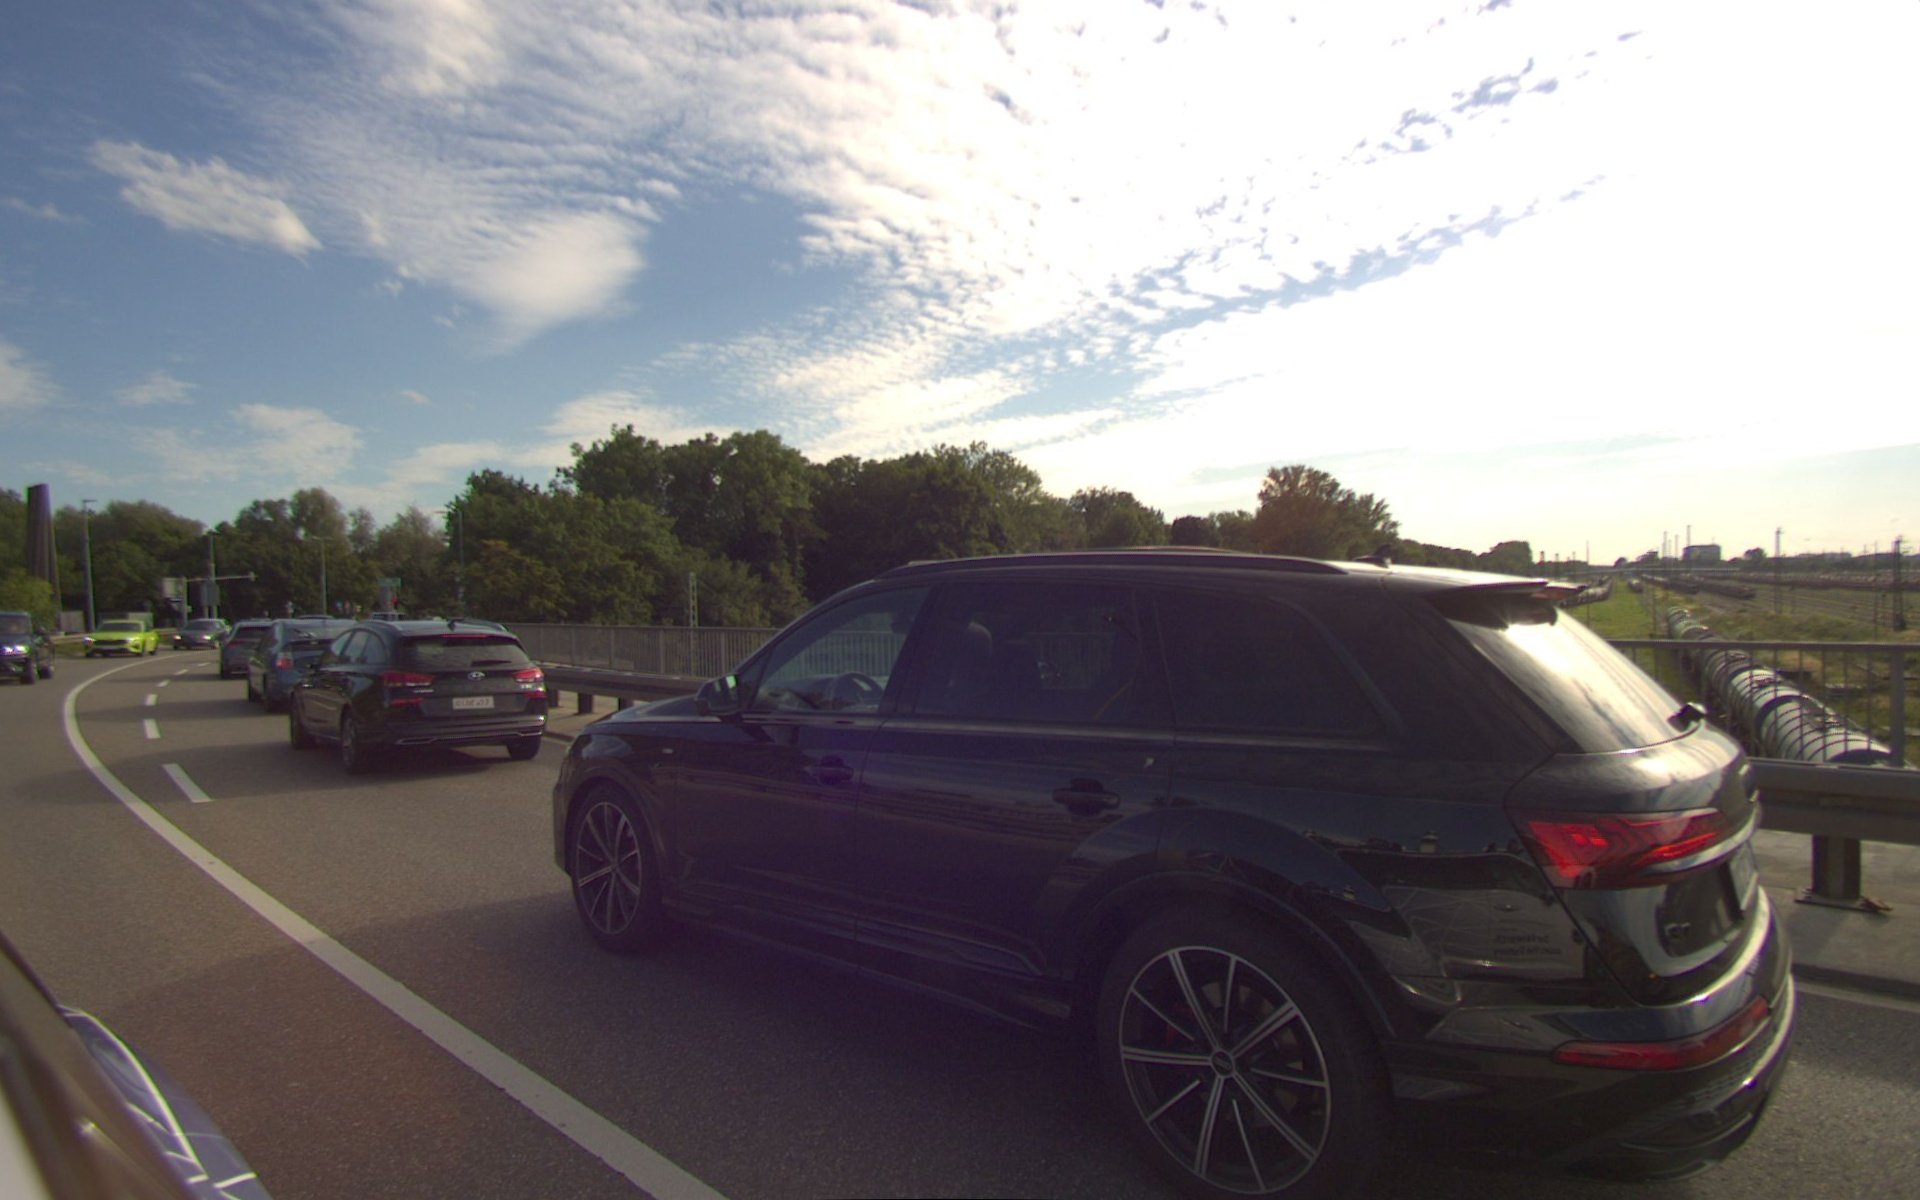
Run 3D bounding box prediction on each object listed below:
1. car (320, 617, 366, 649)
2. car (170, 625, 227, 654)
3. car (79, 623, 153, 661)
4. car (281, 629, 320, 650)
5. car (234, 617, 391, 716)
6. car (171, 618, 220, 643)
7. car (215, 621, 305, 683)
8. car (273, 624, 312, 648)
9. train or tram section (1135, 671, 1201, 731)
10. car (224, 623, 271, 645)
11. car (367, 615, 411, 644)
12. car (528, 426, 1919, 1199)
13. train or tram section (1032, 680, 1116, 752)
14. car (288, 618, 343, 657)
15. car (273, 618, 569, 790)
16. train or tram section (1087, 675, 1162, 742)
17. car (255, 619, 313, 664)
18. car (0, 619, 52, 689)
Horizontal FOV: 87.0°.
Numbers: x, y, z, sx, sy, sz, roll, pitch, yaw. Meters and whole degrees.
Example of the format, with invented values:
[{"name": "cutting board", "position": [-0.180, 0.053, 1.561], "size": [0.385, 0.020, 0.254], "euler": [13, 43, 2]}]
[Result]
[{"name": "car", "position": [-35.227, 1.859, 57.832], "size": [1.748, 1.759, 3.849], "euler": [0, -1, -24]}, {"name": "car", "position": [-37.175, 1.892, 49.478], "size": [1.663, 1.333, 3.796], "euler": [0, -1, -28]}, {"name": "car", "position": [-33.266, 1.621, 40.007], "size": [1.790, 1.415, 4.402], "euler": [1, -2, -34]}, {"name": "car", "position": [-53.623, 3.188, 82.348], "size": [1.965, 1.612, 4.295], "euler": [0, -1, -23]}, {"name": "car", "position": [-11.342, 1.058, 17.585], "size": [1.738, 1.501, 4.398], "euler": [1, -2, -40]}, {"name": "car", "position": [-43.318, 1.693, 57.400], "size": [1.663, 1.333, 3.796], "euler": [0, -1, -29]}, {"name": "car", "position": [-18.356, 1.299, 26.461], "size": [1.789, 1.468, 4.334], "euler": [1, -2, -36]}, {"name": "car", "position": [-58.148, 3.117, 88.214], "size": [1.965, 2.029, 4.286], "euler": [0, -1, -22]}, {"name": "train or tram section", "position": [15.120, 7.220, 73.279], "size": [2.048, 3.812, 6.758], "euler": [-1, -1, 37]}, {"name": "car", "position": [-45.304, 2.118, 64.431], "size": [1.662, 1.333, 3.797], "euler": [0, -1, -23]}, {"name": "car", "position": [-40.410, 2.093, 71.746], "size": [1.957, 1.979, 5.064], "euler": [0, -1, -21]}, {"name": "car", "position": [0.334, 0.627, 3.862], "size": [4.866, 1.685, 1.809], "euler": [-1, -2, 43]}, {"name": "train or tram section", "position": [7.103, 7.028, 62.392], "size": [2.048, 3.812, 6.758], "euler": [-1, -1, 37]}, {"name": "car", "position": [-29.089, 1.673, 45.776], "size": [1.843, 1.679, 4.644], "euler": [1, -2, -29]}, {"name": "car", "position": [-6.030, 0.959, 11.044], "size": [1.739, 1.501, 4.449], "euler": [1, -2, -43]}, {"name": "train or tram section", "position": [11.109, 7.151, 67.826], "size": [2.048, 3.812, 6.758], "euler": [-1, -1, 37]}, {"name": "car", "position": [-24.722, 1.486, 37.090], "size": [1.660, 1.557, 3.934], "euler": [1, -2, -32]}, {"name": "car", "position": [-22.419, 1.207, 23.363], "size": [1.790, 1.519, 4.400], "euler": [1, -2, -37]}]
